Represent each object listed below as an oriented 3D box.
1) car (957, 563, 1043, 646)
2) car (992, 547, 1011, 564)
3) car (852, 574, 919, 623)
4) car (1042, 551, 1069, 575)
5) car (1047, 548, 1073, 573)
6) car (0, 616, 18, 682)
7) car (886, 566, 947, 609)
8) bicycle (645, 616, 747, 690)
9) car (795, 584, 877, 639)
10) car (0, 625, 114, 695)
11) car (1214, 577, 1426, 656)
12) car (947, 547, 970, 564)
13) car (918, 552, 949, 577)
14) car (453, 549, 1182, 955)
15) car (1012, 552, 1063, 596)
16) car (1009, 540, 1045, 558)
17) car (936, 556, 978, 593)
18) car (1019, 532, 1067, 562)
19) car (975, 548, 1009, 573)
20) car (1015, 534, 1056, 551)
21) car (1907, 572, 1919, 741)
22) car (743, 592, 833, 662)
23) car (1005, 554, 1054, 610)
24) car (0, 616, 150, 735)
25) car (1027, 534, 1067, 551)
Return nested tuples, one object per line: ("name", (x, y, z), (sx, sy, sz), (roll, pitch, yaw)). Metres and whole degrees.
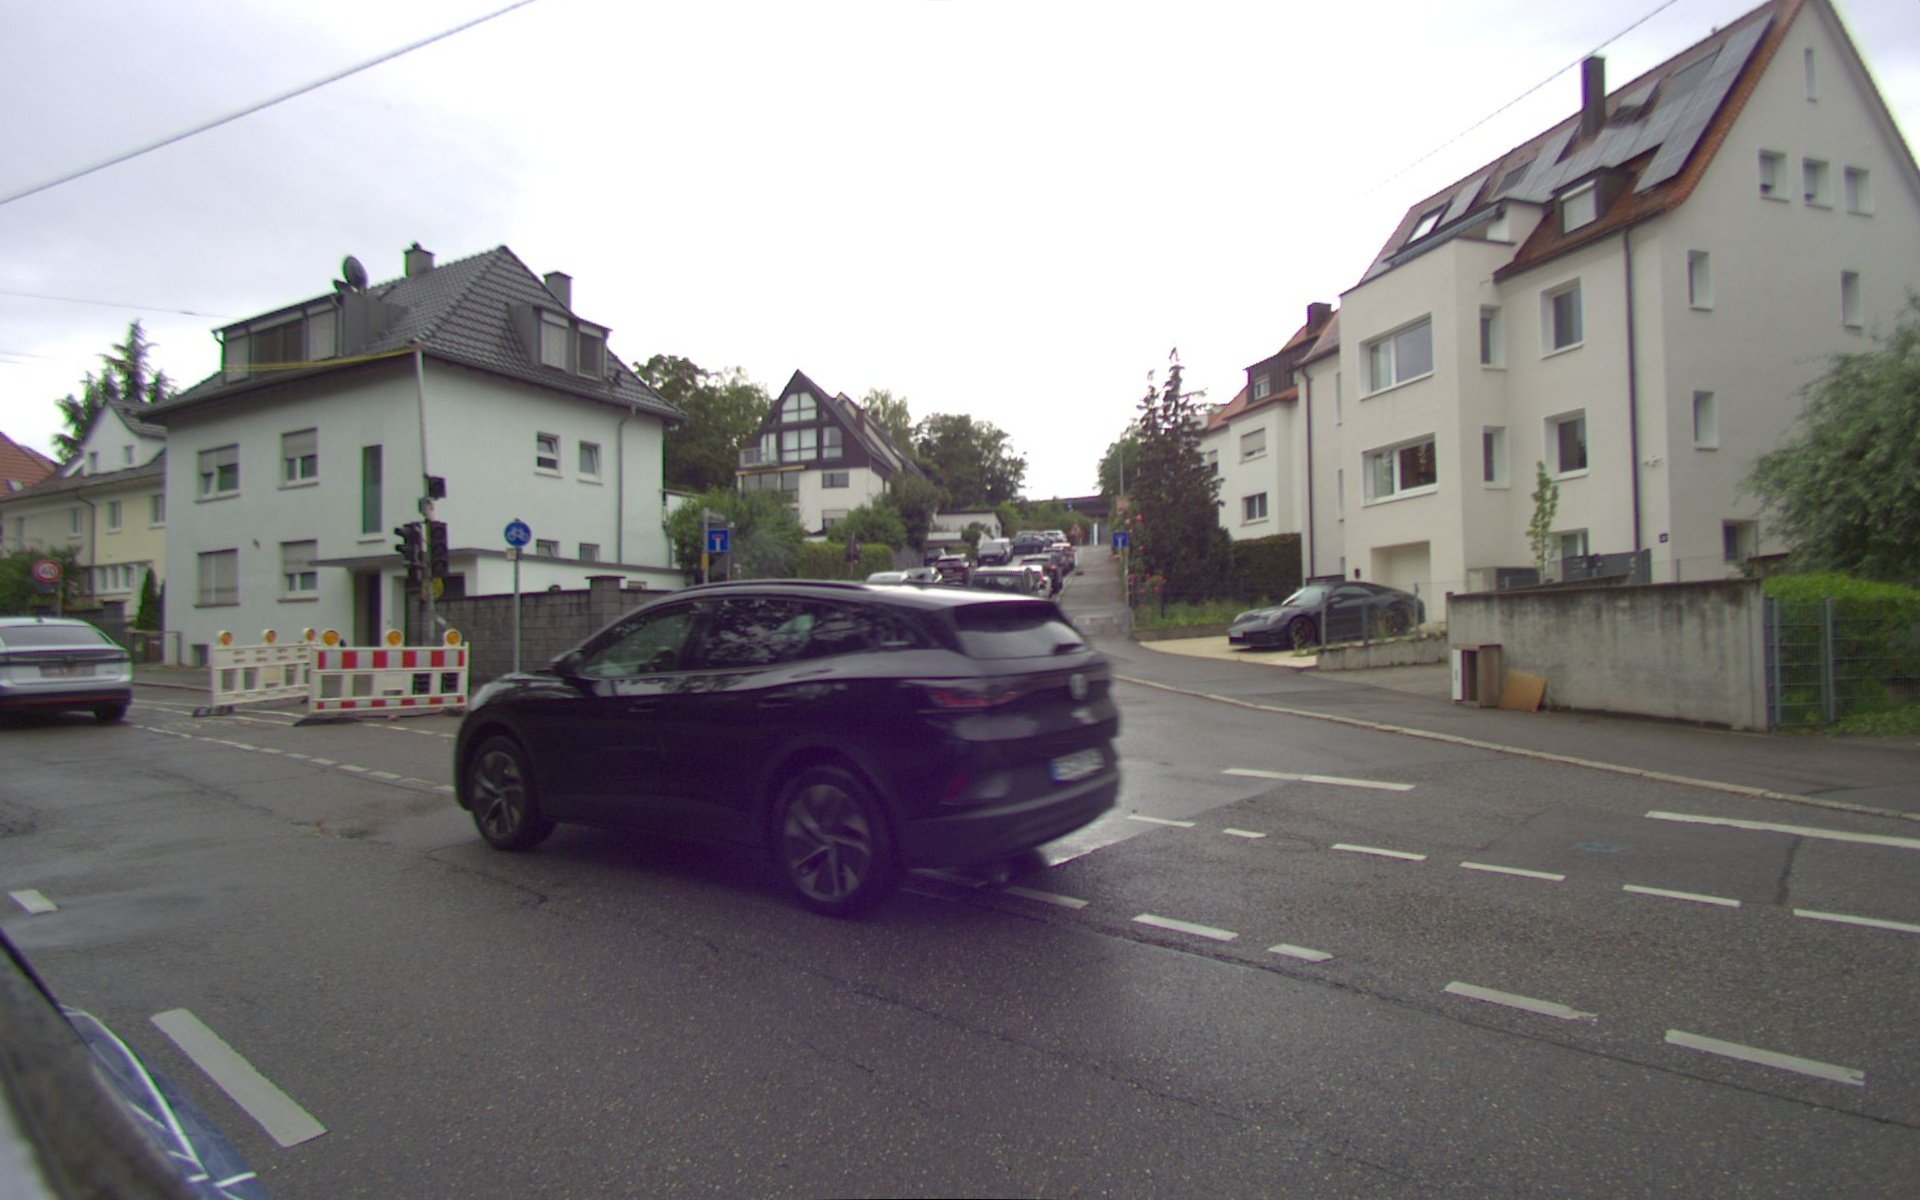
("car", (1.243, 0.050, 29.325), (1.978, 2.028, 4.482), (-1, 4, 9))
("car", (3.062, -3.326, 74.710), (1.292, 1.206, 2.980), (-1, 3, 5))
("car", (-2.656, -0.084, 37.087), (1.738, 1.481, 3.940), (-1, 4, 6))
("car", (5.506, -2.143, 58.111), (1.274, 1.325, 2.984), (-1, 3, 10))
("car", (6.241, -2.448, 62.847), (1.488, 1.373, 3.465), (-1, 0, 8))
("car", (-26.153, 1.267, 25.777), (4.131, 1.653, 1.782), (-1, -1, 25))
("car", (-1.804, -0.553, 42.959), (1.903, 1.448, 4.100), (-1, 5, 7))
("bicycle", (-4.785, 0.932, 18.457), (0.508, 1.249, 1.984), (1, 0, 32))
("car", (-3.826, 0.320, 31.818), (1.702, 1.397, 3.900), (-1, 4, 6))
("car", (-21.468, 1.337, 23.384), (3.833, 1.443, 1.768), (-1, -1, 30))
("car", (7.708, 0.332, 21.771), (3.942, 1.290, 1.613), (-5, 1, -13))
("car", (-0.078, -3.258, 74.021), (1.559, 1.220, 3.650), (-1, 3, 2))
("car", (-1.823, -2.417, 69.793), (1.793, 1.566, 4.009), (-1, 0, 3))
("car", (-1.001, 0.639, 6.035), (4.154, 1.634, 1.851), (-1, 0, 34))
("car", (3.523, -1.193, 45.376), (1.823, 1.699, 4.039), (-1, 5, 11))
("car", (5.558, -4.198, 83.653), (2.914, 1.328, 1.282), (-1, 0, 4))
("car", (-0.111, -1.362, 52.465), (1.623, 1.637, 3.992), (-1, 5, 8))
("car", (7.207, -4.562, 87.642), (3.954, 2.028, 1.995), (-5, -1, 8))
("car", (2.200, -2.670, 68.885), (1.770, 1.531, 4.016), (-1, 0, 9))
("car", (7.397, -5.589, 98.788), (3.922, 1.528, 1.748), (-1, 0, 6))
("car", (10.604, 0.420, 8.547), (3.934, 1.497, 1.780), (-2, -1, -12))
("car", (-4.353, 0.625, 26.156), (1.827, 1.473, 4.124), (-1, 3, -3))
("car", (2.822, -0.754, 40.323), (1.686, 1.843, 4.194), (-1, 6, 7))
("car", (-14.182, 1.020, 15.049), (4.803, 1.539, 1.839), (-1, -1, 32))
("car", (8.945, -5.899, 103.913), (3.782, 1.529, 1.664), (-1, -1, 15))
